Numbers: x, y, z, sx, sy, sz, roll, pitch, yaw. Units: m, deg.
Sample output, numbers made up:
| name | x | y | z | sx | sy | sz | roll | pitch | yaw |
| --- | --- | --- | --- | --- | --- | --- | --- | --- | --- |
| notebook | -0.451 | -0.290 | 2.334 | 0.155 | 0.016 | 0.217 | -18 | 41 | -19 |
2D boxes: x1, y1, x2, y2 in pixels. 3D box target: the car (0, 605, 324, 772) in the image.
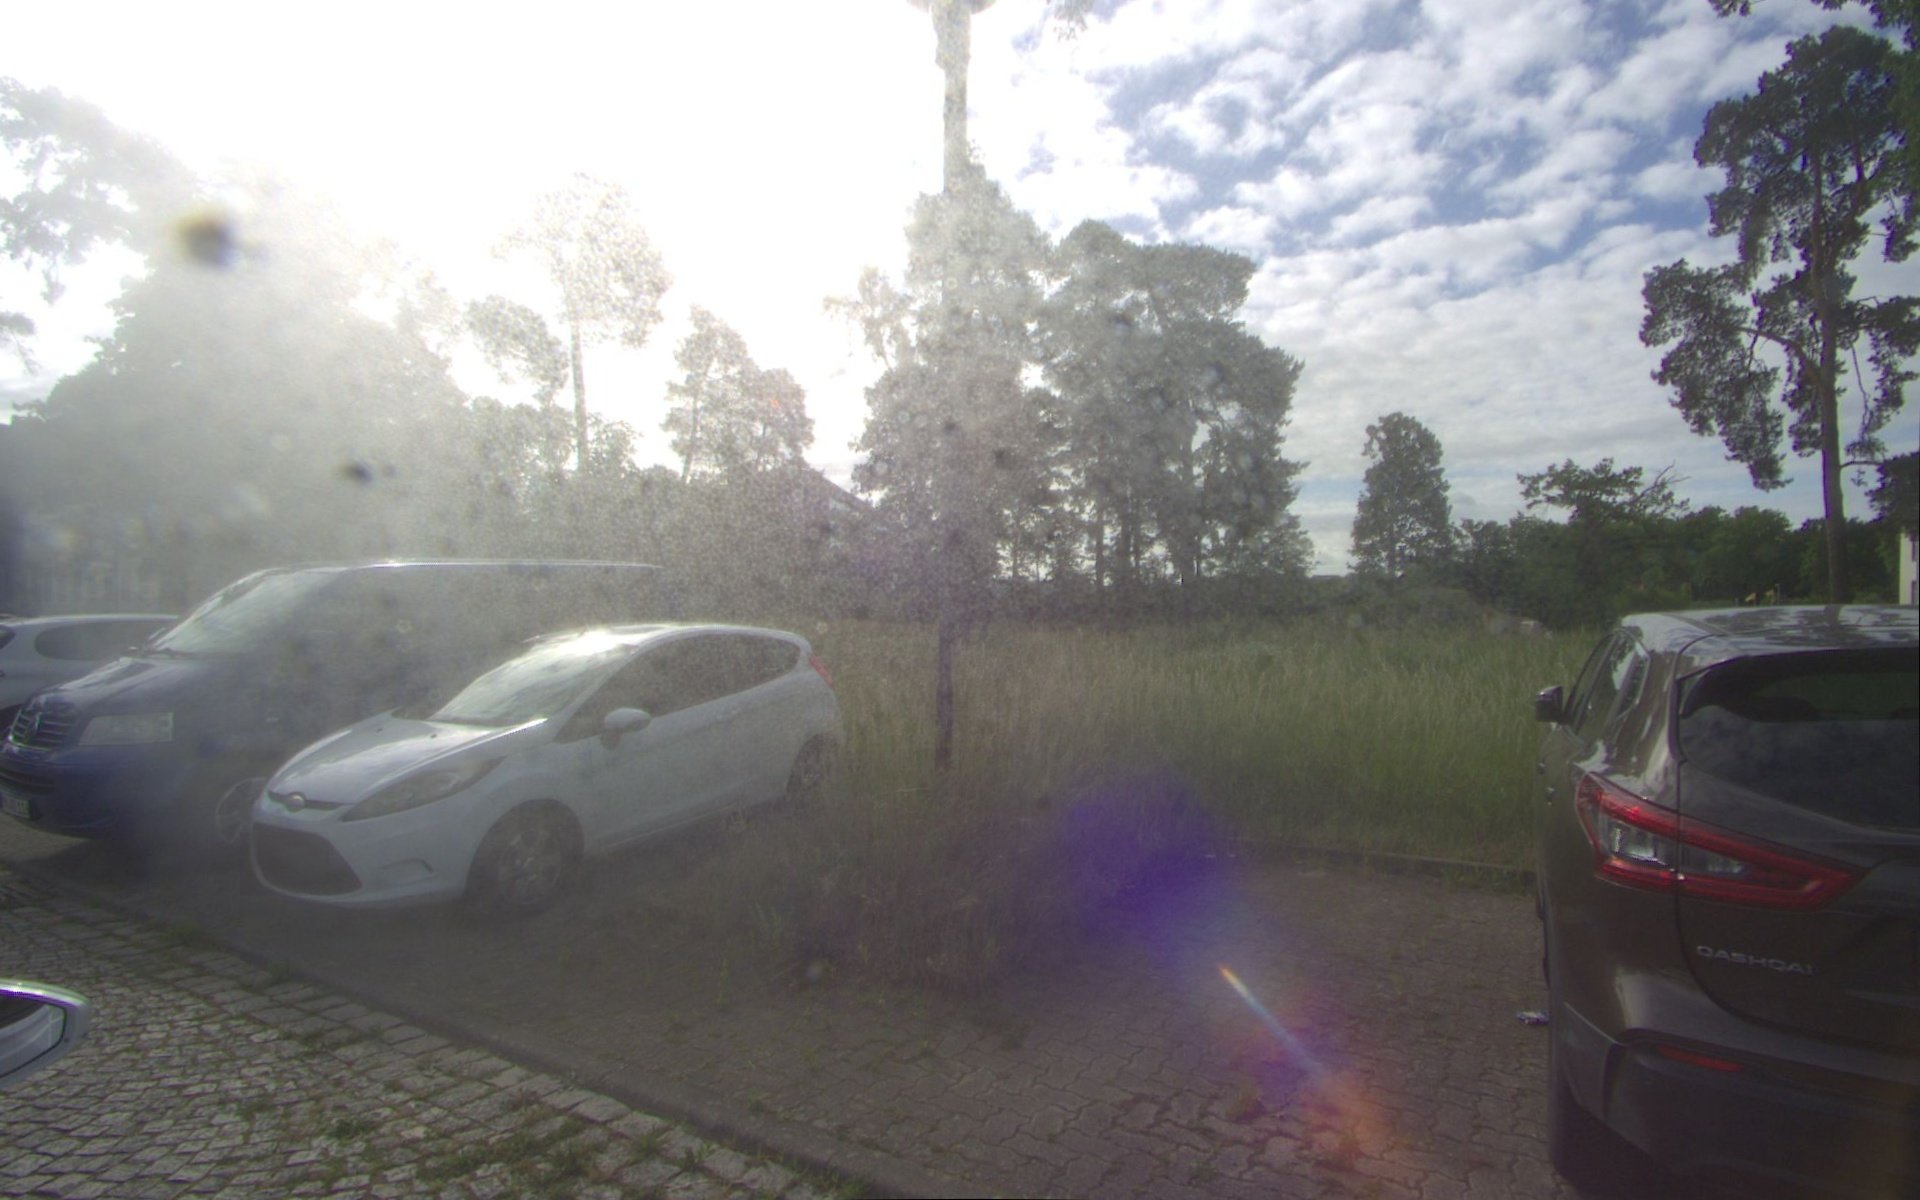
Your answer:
| name | x | y | z | sx | sy | sz | roll | pitch | yaw |
| --- | --- | --- | --- | --- | --- | --- | --- | --- | --- |
| car | -8.906 | 0.825 | 10.610 | 1.639 | 1.524 | 3.289 | 1 | 0 | 29 |

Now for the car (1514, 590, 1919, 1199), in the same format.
| name | x | y | z | sx | sy | sz | roll | pitch | yaw |
| --- | --- | --- | --- | --- | --- | --- | --- | --- | --- |
| car | 2.937 | 0.824 | 3.472 | 1.735 | 1.601 | 3.946 | 0 | -1 | 30 |

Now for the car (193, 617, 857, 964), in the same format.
| name | x | y | z | sx | sy | sz | roll | pitch | yaw |
| --- | --- | --- | --- | --- | --- | --- | --- | --- | --- |
| car | -2.388 | 0.877 | 6.456 | 1.629 | 1.443 | 3.718 | 0 | 1 | 29 |

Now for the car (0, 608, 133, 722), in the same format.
| name | x | y | z | sx | sy | sz | roll | pitch | yaw |
| --- | --- | --- | --- | --- | --- | --- | --- | --- | --- |
| car | -13.755 | 0.876 | 13.778 | 1.635 | 1.524 | 3.296 | 1 | 0 | 21 |

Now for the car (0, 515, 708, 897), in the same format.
| name | x | y | z | sx | sy | sz | roll | pitch | yaw |
| --- | --- | --- | --- | --- | --- | --- | --- | --- | --- |
| car | -4.336 | 0.615 | 7.933 | 1.712 | 2.066 | 4.777 | 0 | -1 | 30 |

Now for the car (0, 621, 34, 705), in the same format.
| name | x | y | z | sx | sy | sz | roll | pitch | yaw |
| --- | --- | --- | --- | --- | --- | --- | --- | --- | --- |
| car | -16.227 | 0.967 | 14.859 | 1.637 | 1.284 | 3.292 | 1 | 0 | 26 |

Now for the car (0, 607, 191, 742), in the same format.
| name | x | y | z | sx | sy | sz | roll | pitch | yaw |
| --- | --- | --- | --- | --- | --- | --- | --- | --- | --- |
| car | -11.586 | 0.854 | 11.881 | 1.635 | 1.526 | 3.602 | 1 | 0 | 21 |

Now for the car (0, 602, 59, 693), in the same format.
| name | x | y | z | sx | sy | sz | roll | pitch | yaw |
| --- | --- | --- | --- | --- | --- | --- | --- | --- | --- |
| car | -17.788 | 0.793 | 16.556 | 1.637 | 1.563 | 3.987 | 0 | -1 | 26 |
